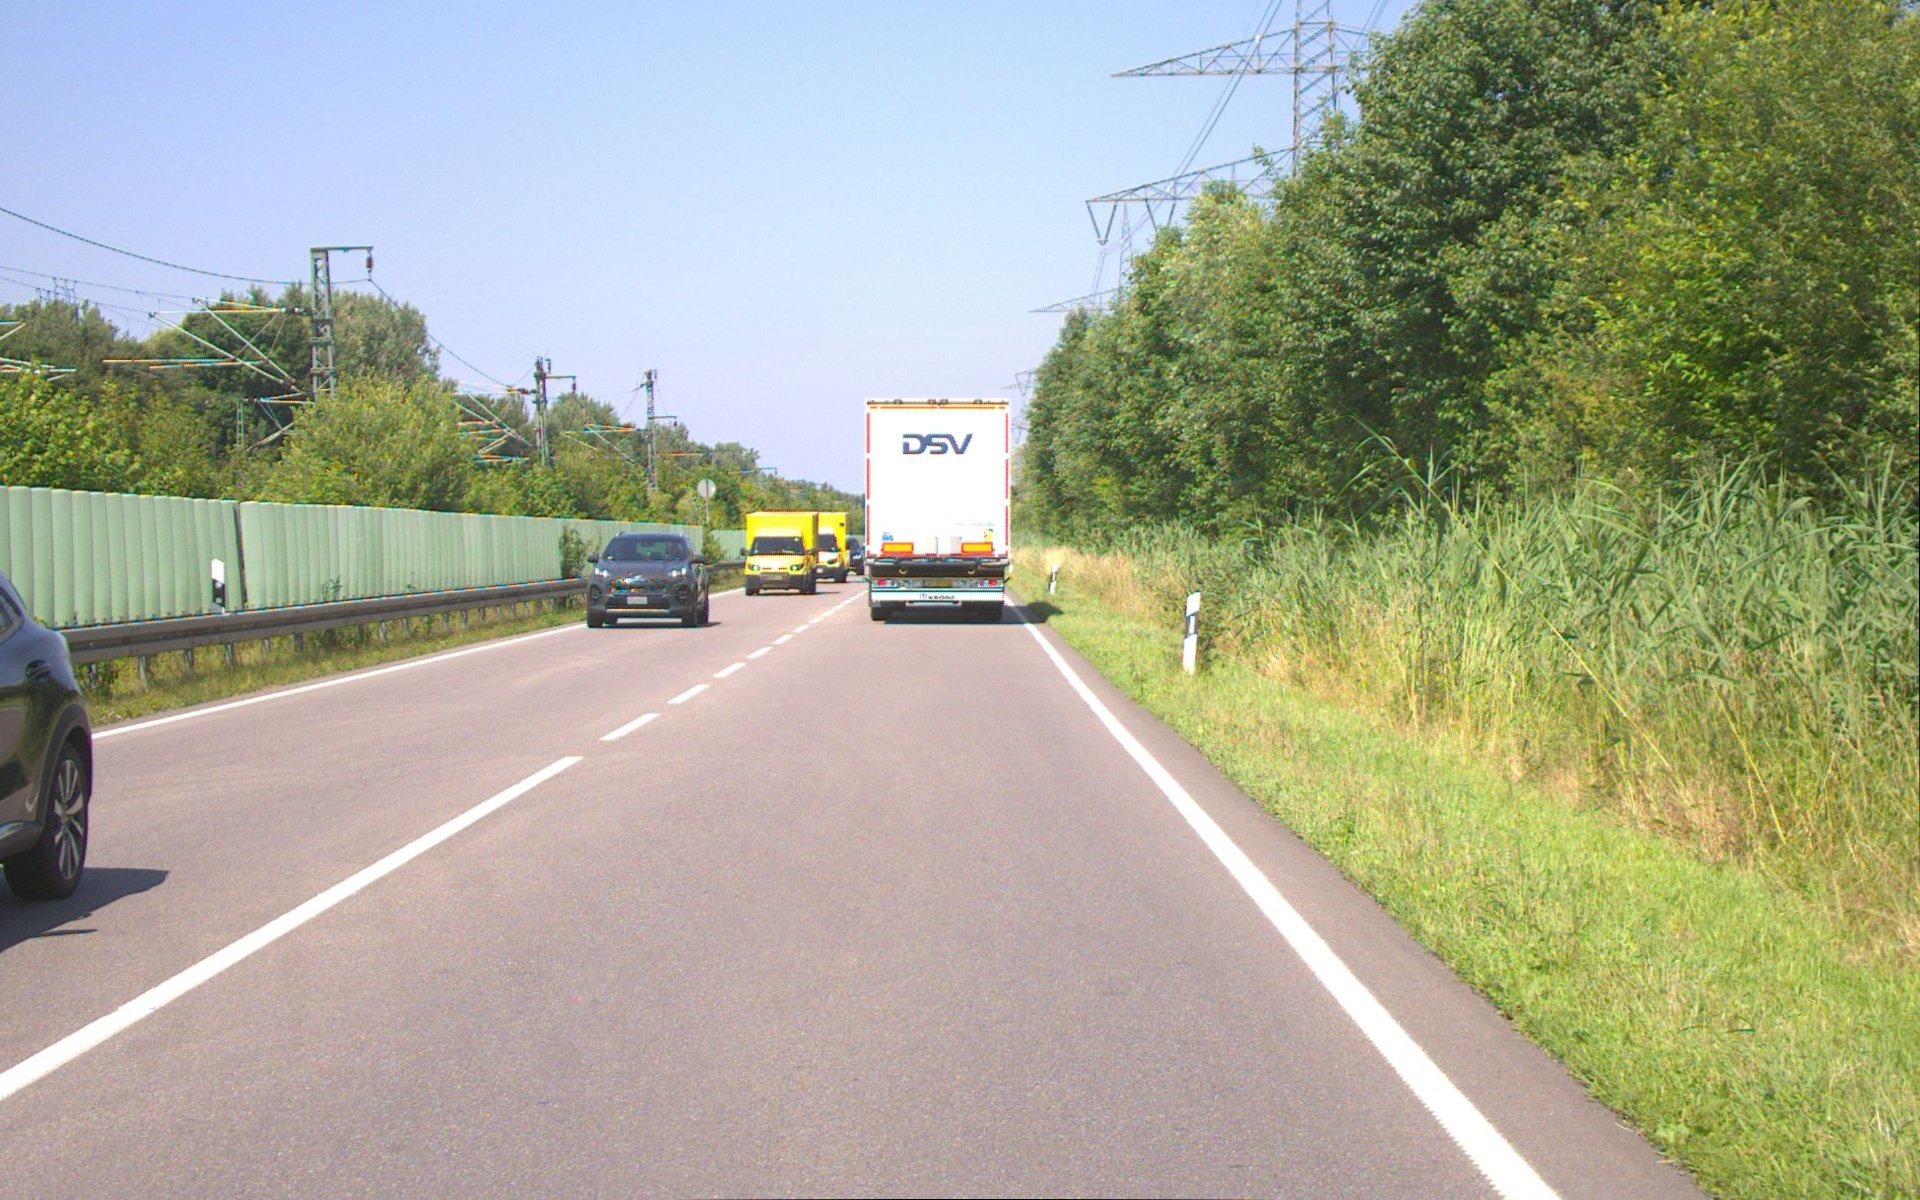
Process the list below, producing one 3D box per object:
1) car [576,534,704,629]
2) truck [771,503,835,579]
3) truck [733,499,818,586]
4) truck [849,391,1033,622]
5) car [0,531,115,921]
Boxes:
[{"bbox_3d":[-5.547,-0.355,60.017,1.801,1.582,4.371,1,1,0],"label":"car"},{"bbox_3d":[-5.541,-2.083,122.018,2.080,2.637,5.705,0,1,-1],"label":"truck"},{"bbox_3d":[-5.076,-1.595,95.125,1.993,2.340,6.012,0,1,0],"label":"truck"},{"bbox_3d":[-0.397,-1.725,66.025,3.192,4.029,12.007,0,1,-1],"label":"truck"},{"bbox_3d":[-4.552,0.493,13.061,1.673,1.509,4.289,0,1,-1],"label":"car"}]
